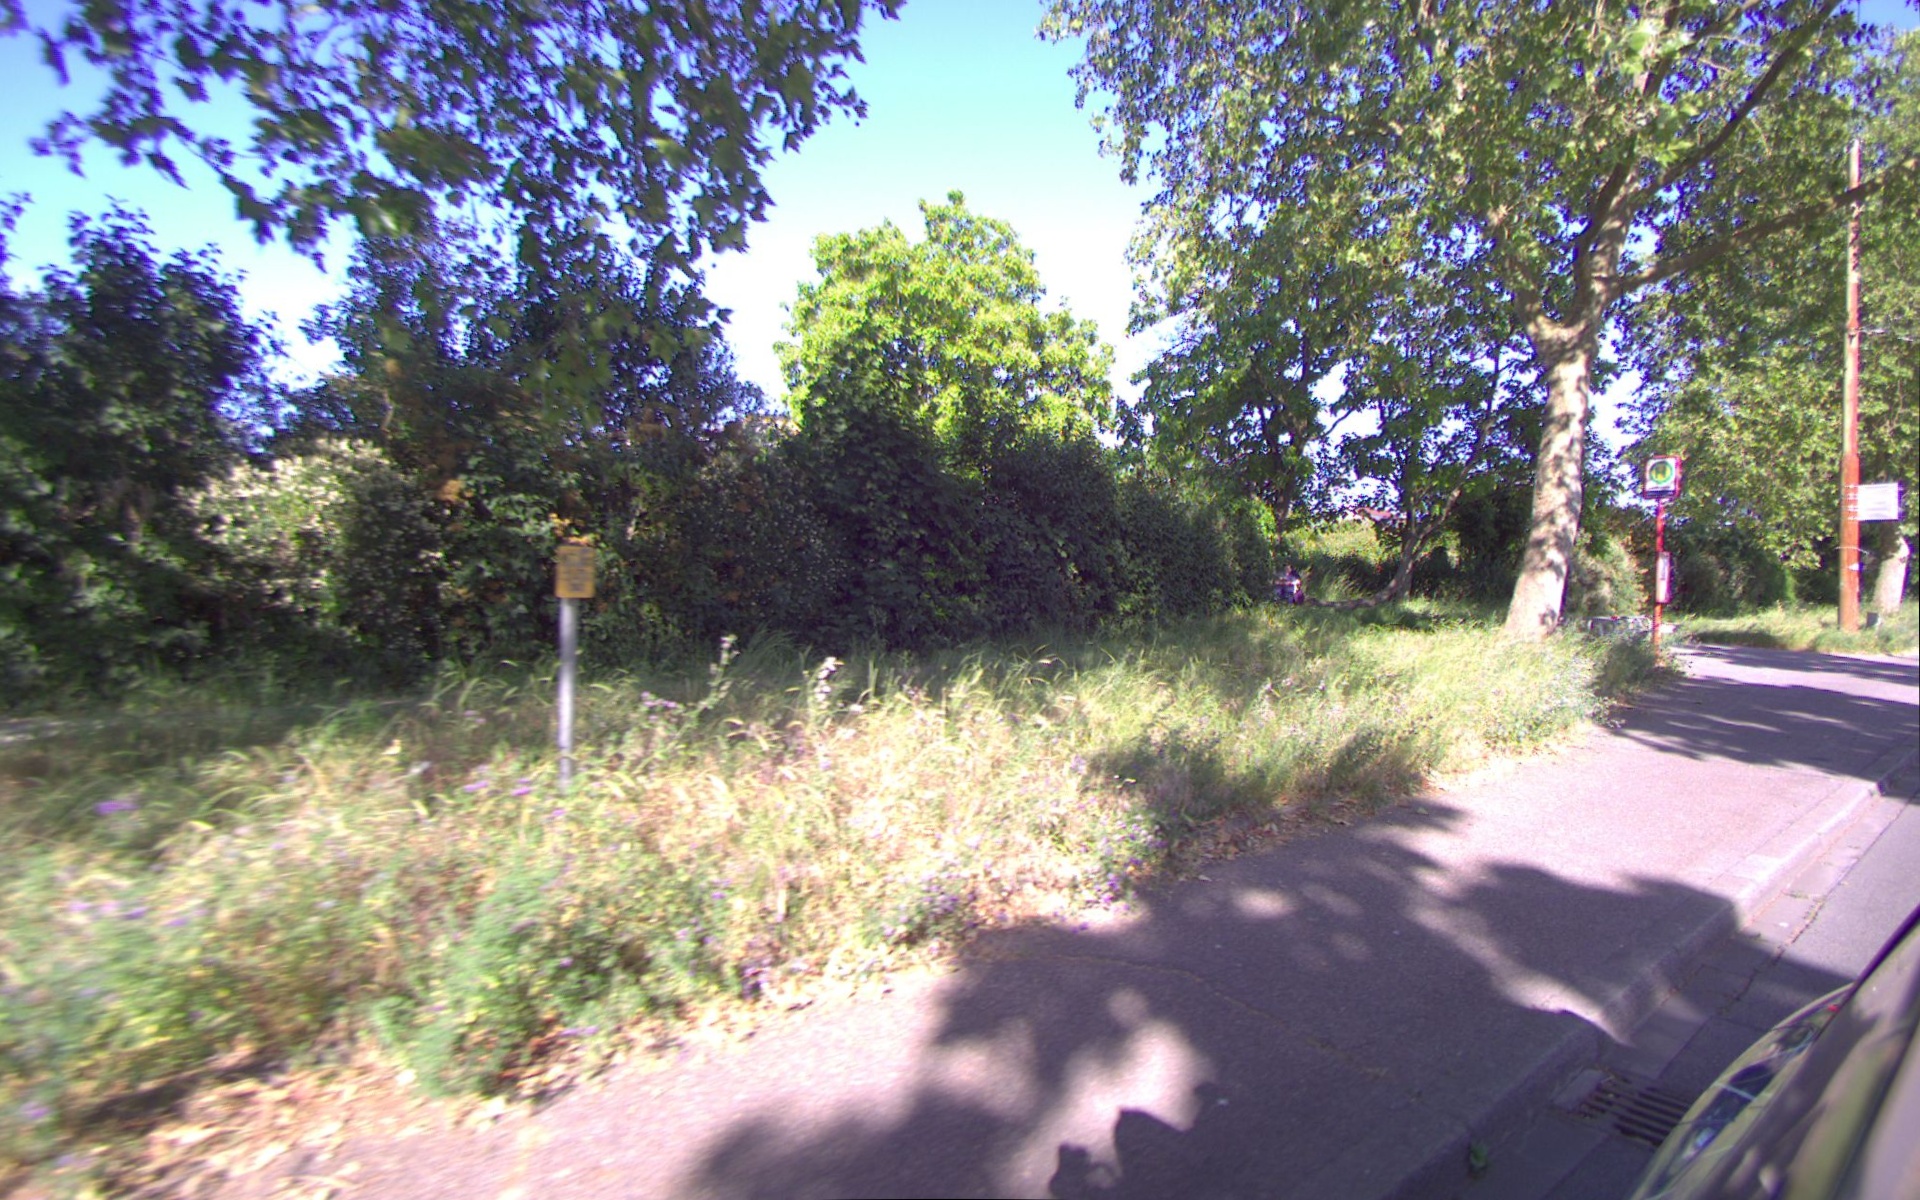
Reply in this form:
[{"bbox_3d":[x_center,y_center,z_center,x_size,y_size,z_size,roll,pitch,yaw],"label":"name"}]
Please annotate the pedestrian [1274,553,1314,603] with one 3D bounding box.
[{"bbox_3d":[8.379,-0.546,25.395,0.679,1.235,0.734,-1,1,-44],"label":"pedestrian"}]
